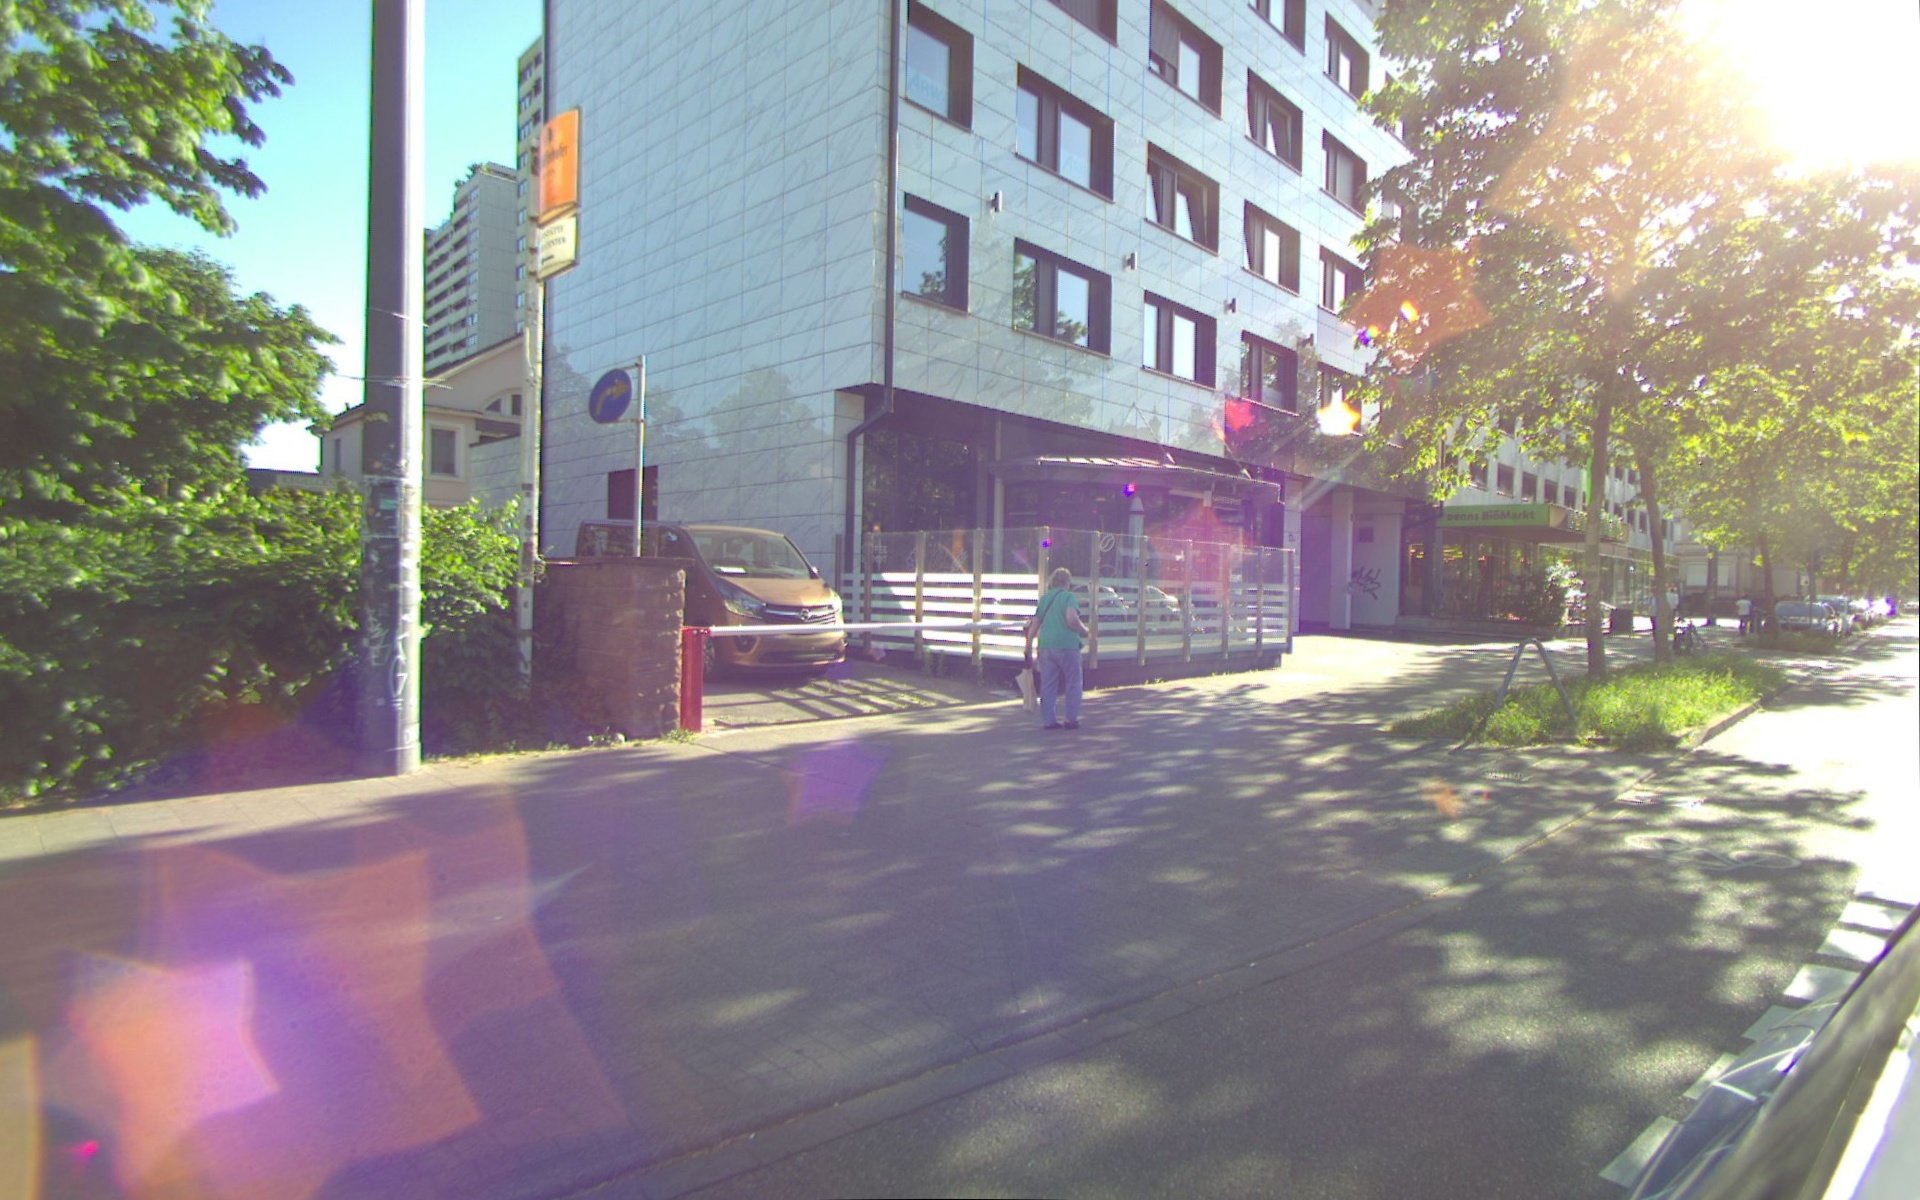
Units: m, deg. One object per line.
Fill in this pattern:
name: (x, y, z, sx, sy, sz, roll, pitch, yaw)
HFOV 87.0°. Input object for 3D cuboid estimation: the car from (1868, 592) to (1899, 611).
car: (78.224, 0.095, 85.697, 1.834, 1.584, 4.206, 0, 0, 44)

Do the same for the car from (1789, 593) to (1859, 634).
car: (32.438, 0.463, 37.947, 1.761, 1.436, 4.627, 0, 0, 43)

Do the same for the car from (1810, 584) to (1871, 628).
car: (39.345, 0.242, 45.183, 1.765, 1.814, 4.322, 2, 2, 44)

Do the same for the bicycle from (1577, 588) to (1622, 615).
bicycle: (28.959, 0.058, 45.850, 0.573, 1.068, 1.709, 2, 3, -18)

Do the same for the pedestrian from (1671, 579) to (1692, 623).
pedestrian: (29.212, 0.028, 40.969, 0.560, 1.766, 0.865, 2, 1, 44)

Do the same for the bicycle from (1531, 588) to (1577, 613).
bicycle: (24.936, 0.018, 42.508, 0.573, 0.927, 1.656, 4, 1, -19)

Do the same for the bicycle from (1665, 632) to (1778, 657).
bicycle: (14.812, 0.851, 19.693, 1.609, 0.357, 1.366, 2, 2, 45)

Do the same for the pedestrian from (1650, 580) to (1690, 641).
pedestrian: (19.832, 0.275, 28.276, 0.853, 1.632, 0.698, 0, 3, -44)

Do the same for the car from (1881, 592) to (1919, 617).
car: (57.785, 0.264, 62.155, 1.626, 1.460, 3.868, 3, 2, 44)

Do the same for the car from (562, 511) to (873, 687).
car: (-3.511, -0.171, 13.969, 1.882, 2.008, 4.902, 0, 4, -45)

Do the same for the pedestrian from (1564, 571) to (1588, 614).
pedestrian: (26.462, -0.327, 43.481, 0.606, 1.735, 0.609, 7, 4, 20)

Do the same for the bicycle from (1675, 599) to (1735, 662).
bicycle: (14.609, 0.563, 19.883, 0.784, 1.147, 1.825, 1, 1, 31)

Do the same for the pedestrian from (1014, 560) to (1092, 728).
pedestrian: (0.932, 0.408, 10.104, 0.726, 1.595, 0.831, 1, 1, 6)

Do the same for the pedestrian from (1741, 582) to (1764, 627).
pedestrian: (30.756, 0.175, 39.261, 0.560, 1.725, 1.035, 2, 1, 44)

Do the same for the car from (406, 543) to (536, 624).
car: (-11.166, -0.410, 23.015, 1.569, 1.692, 3.612, 0, 2, -45)

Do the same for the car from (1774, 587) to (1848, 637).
car: (28.089, 0.348, 33.378, 1.565, 1.570, 3.936, 1, 1, 45)

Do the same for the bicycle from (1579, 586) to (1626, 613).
bicycle: (28.443, -0.023, 44.821, 0.573, 1.068, 1.709, 3, 2, -19)

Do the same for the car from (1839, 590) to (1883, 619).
car: (49.986, 0.228, 56.147, 1.673, 1.455, 3.633, 4, 4, 43)
